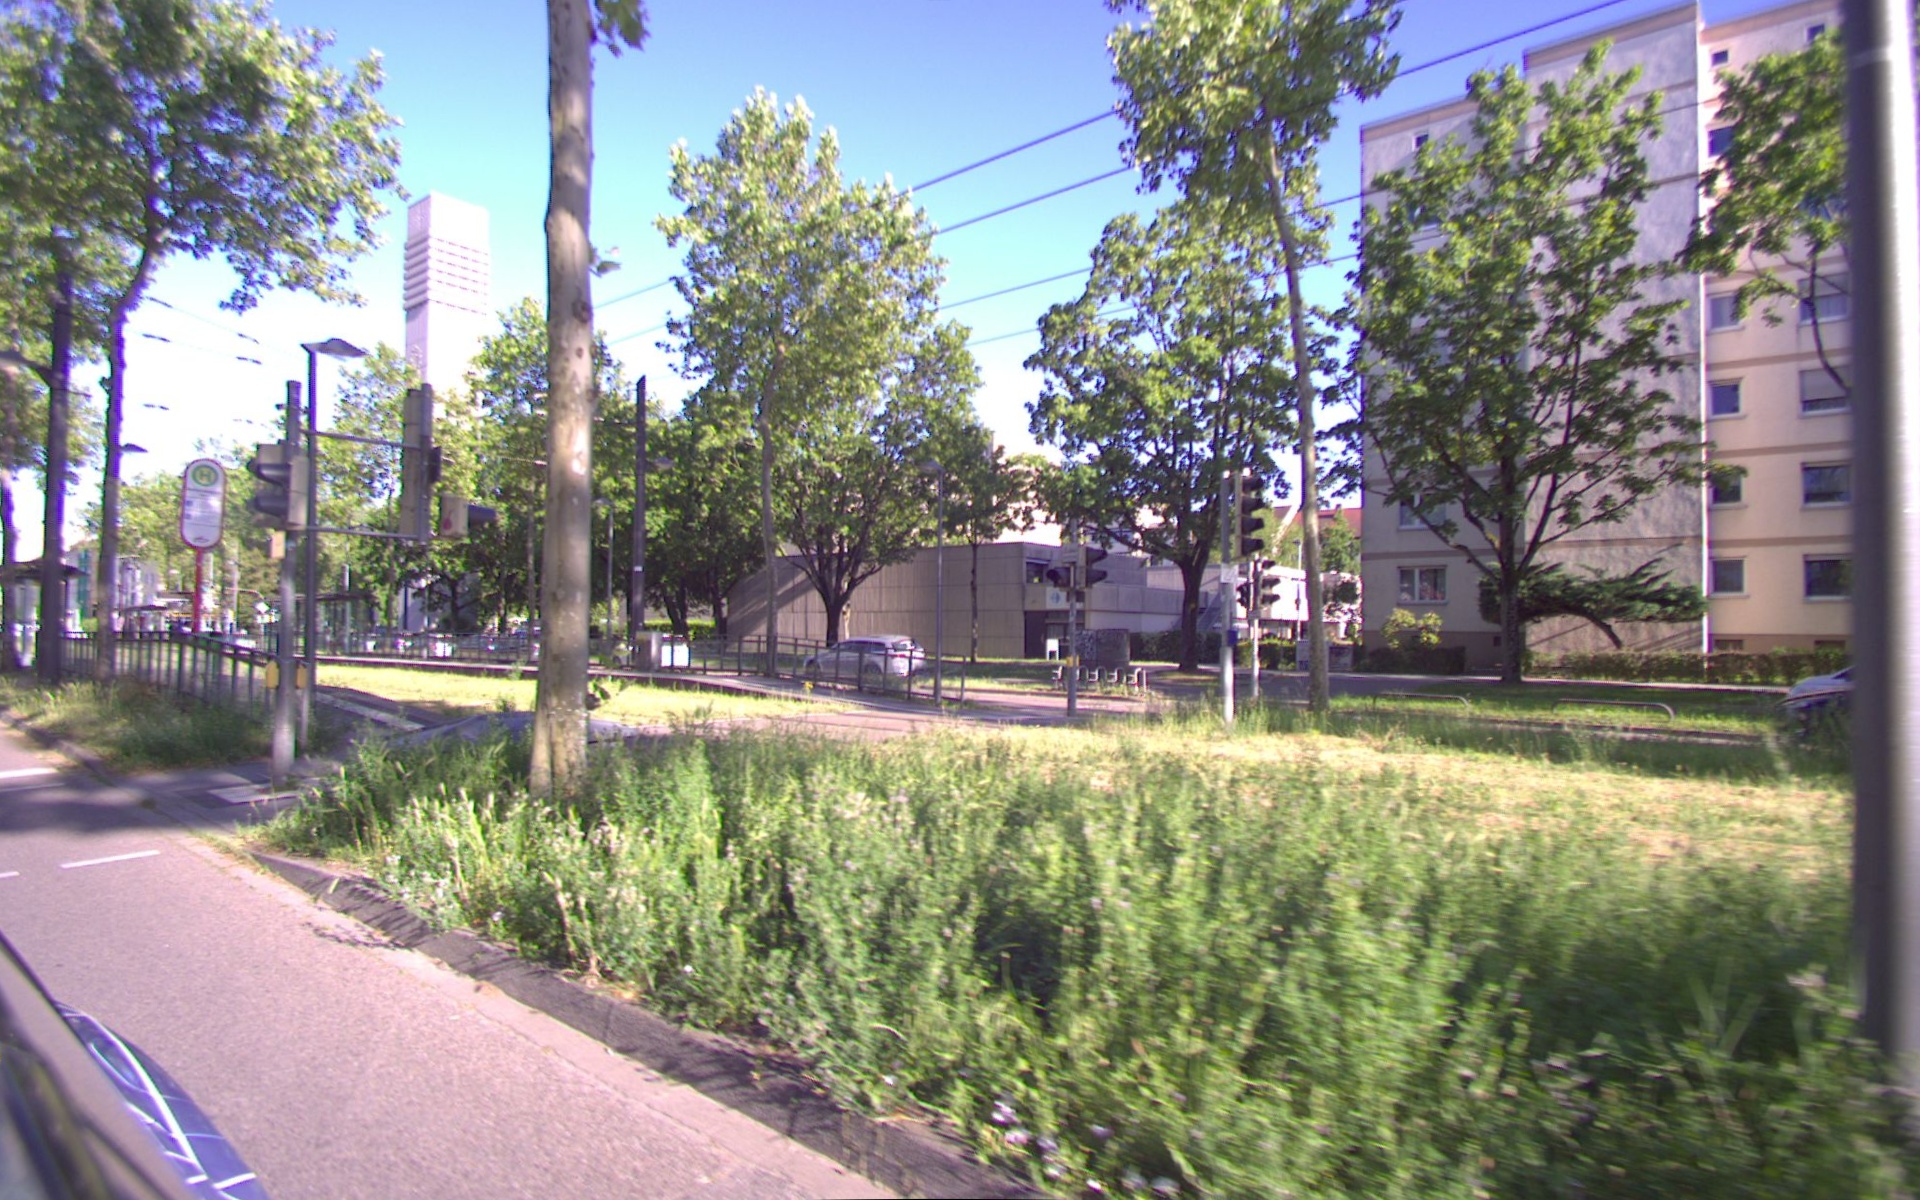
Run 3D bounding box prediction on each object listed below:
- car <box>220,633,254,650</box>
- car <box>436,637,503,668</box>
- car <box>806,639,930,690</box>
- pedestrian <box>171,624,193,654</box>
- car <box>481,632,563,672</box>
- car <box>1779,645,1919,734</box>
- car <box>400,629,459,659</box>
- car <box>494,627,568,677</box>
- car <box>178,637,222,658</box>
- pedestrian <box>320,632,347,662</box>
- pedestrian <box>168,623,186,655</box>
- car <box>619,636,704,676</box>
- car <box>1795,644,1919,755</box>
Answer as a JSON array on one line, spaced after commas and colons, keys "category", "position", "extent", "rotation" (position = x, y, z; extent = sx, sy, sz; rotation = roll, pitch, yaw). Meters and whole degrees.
[{"category": "car", "position": [-53.040, 3.055, 74.232], "extent": [3.374, 1.251, 1.249], "rotation": [-2, -3, 41]}, {"category": "car", "position": [-24.813, 2.636, 51.161], "extent": [4.018, 1.500, 1.577], "rotation": [-2, -3, 41]}, {"category": "car", "position": [-3.067, 2.060, 33.162], "extent": [4.200, 1.558, 1.695], "rotation": [-2, -4, 43]}, {"category": "pedestrian", "position": [-45.831, 2.287, 59.594], "extent": [0.754, 1.702, 0.873], "rotation": [-2, -3, 42]}, {"category": "car", "position": [-18.248, 2.148, 42.115], "extent": [3.934, 1.558, 1.695], "rotation": [-2, -4, 44]}, {"category": "car", "position": [16.312, 1.473, 16.918], "extent": [1.811, 1.446, 3.831], "rotation": [1, -3, -8]}, {"category": "car", "position": [-29.566, 2.452, 56.339], "extent": [3.928, 1.648, 1.577], "rotation": [-2, -3, 41]}, {"category": "car", "position": [-20.520, 2.477, 48.329], "extent": [3.931, 2.279, 1.696], "rotation": [-2, -3, 41]}, {"category": "car", "position": [-52.193, 3.259, 69.472], "extent": [3.534, 1.438, 1.589], "rotation": [-2, -3, 40]}, {"category": "pedestrian", "position": [-26.299, 1.964, 42.501], "extent": [0.825, 1.270, 0.802], "rotation": [0, -2, -20]}, {"category": "pedestrian", "position": [-46.465, 2.303, 60.048], "extent": [0.636, 1.881, 0.712], "rotation": [-2, -3, 42]}, {"category": "car", "position": [-12.460, 2.303, 42.111], "extent": [3.934, 1.558, 1.694], "rotation": [-2, -4, 44]}, {"category": "car", "position": [13.434, 1.273, 12.896], "extent": [4.168, 1.400, 1.971], "rotation": [-2, -3, 44]}]
